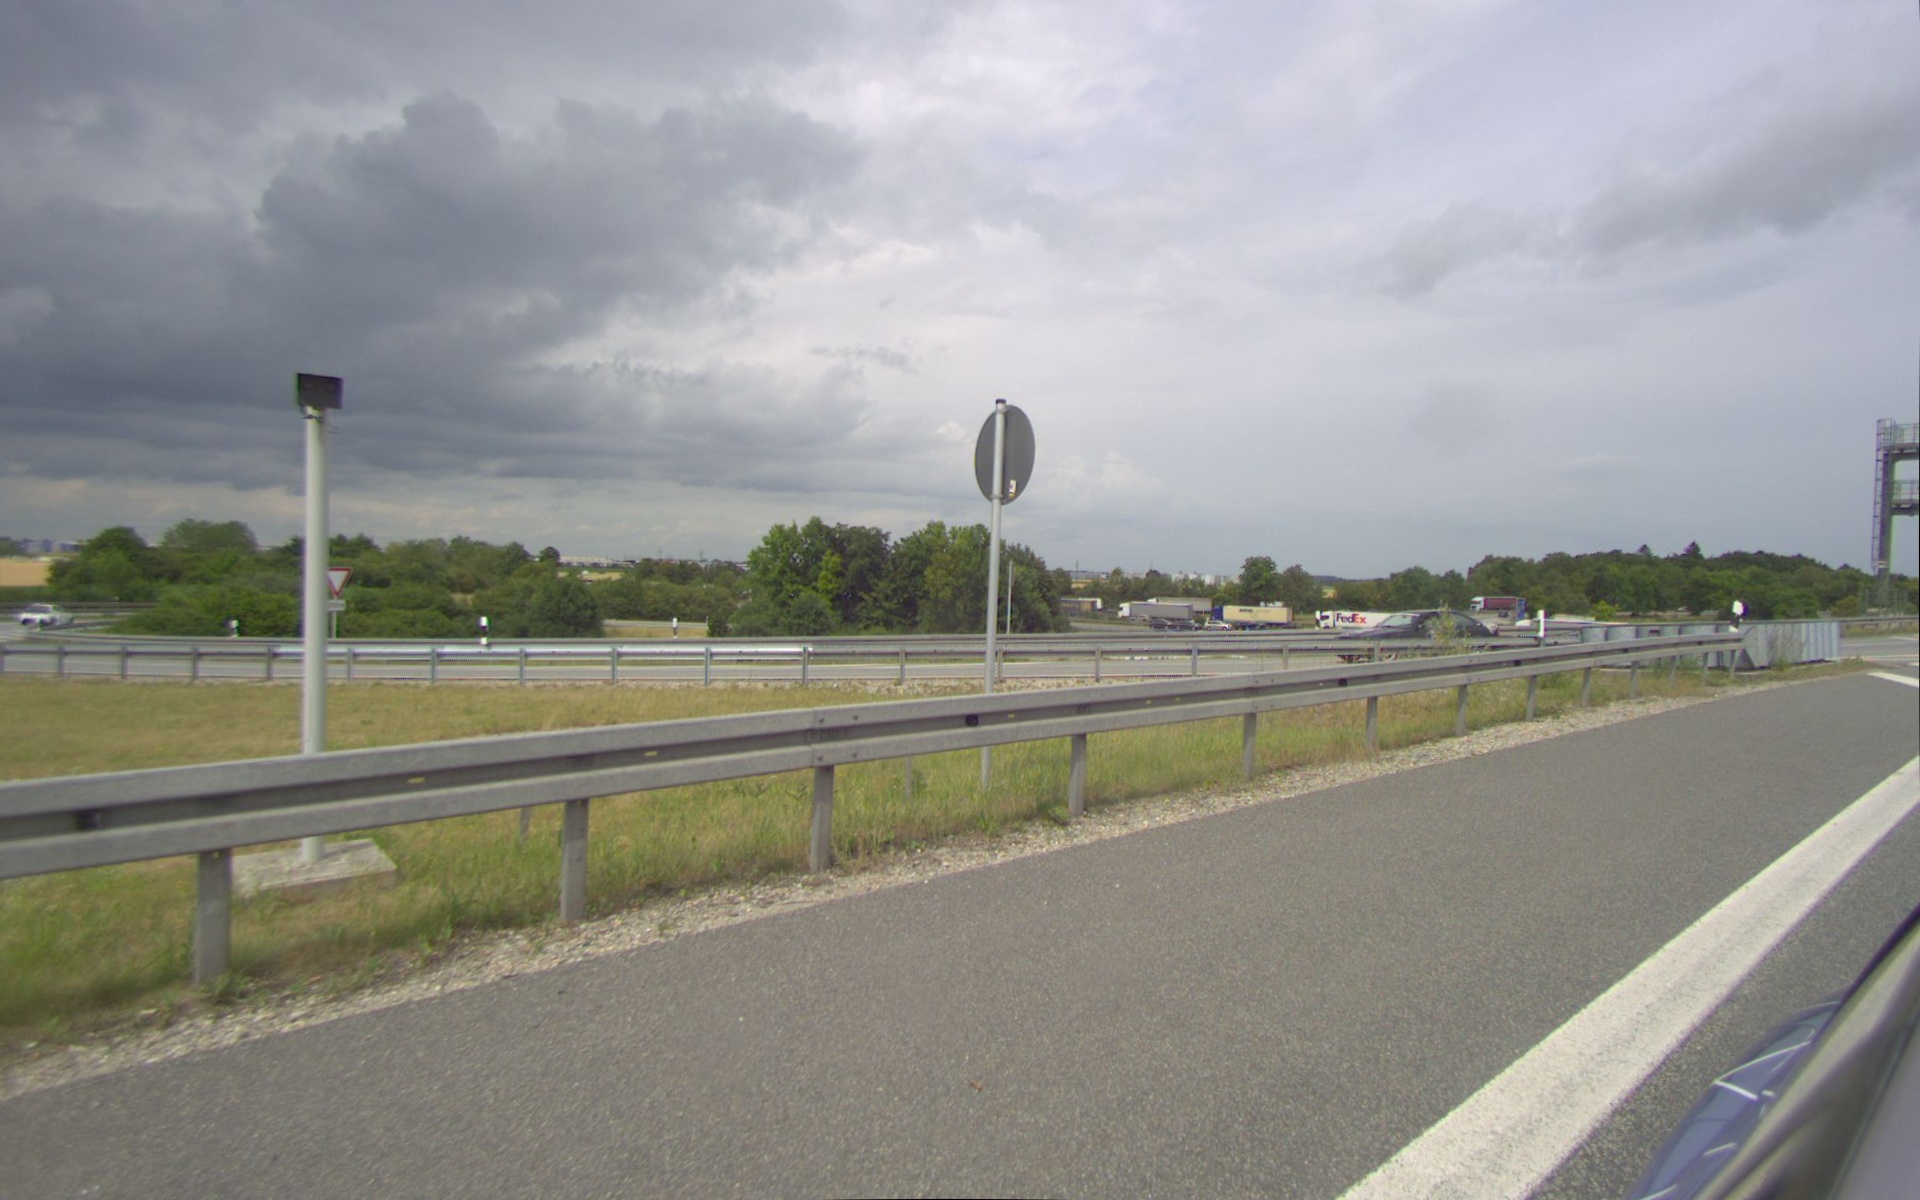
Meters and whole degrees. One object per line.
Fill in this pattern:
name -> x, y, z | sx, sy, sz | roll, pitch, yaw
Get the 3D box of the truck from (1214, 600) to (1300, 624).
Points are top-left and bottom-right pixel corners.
truck -> 59.386, 2.342, 202.701 | 16.285, 4.612, 3.951 | 1, 0, 39

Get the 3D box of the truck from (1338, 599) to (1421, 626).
truck -> 77.502, 2.289, 187.370 | 13.720, 4.612, 3.952 | 1, 0, 39

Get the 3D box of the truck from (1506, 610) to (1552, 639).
truck -> 97.015, 4.111, 172.525 | 6.261, 4.733, 3.878 | 1, 0, 39

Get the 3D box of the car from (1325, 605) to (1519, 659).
car -> 12.058, 0.807, 26.588 | 4.282, 1.297, 1.710 | 1, 0, -1

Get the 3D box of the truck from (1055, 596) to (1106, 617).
truck -> 30.623, 1.675, 257.155 | 12.793, 5.105, 3.939 | 1, 0, 11

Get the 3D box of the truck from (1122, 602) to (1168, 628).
truck -> 29.795, 2.401, 163.376 | 6.380, 4.041, 3.813 | 1, 1, 36

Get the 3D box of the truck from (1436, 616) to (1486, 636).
truck -> 86.409, 4.380, 174.551 | 7.530, 3.237, 2.200 | 1, 0, 39

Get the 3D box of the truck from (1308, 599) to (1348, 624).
truck -> 70.303, 2.131, 193.187 | 6.262, 4.568, 3.877 | 1, 0, 39

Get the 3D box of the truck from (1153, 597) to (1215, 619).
truck -> 55.719, 2.021, 251.969 | 14.585, 5.281, 3.858 | 1, -1, 3

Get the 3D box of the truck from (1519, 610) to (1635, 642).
truck -> 102.339, 4.242, 168.106 | 16.095, 4.759, 3.937 | 1, 1, 40

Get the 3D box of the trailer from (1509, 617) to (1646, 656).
trailer -> 76.252, 4.418, 125.304 | 14.177, 4.151, 2.948 | 1, 0, 39

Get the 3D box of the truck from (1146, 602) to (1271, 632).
truck -> 38.291, 2.578, 157.016 | 18.933, 4.111, 3.942 | 1, 1, 37

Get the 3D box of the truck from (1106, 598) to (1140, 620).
truck -> 35.656, 1.943, 221.313 | 6.263, 4.568, 3.876 | 1, 0, 40

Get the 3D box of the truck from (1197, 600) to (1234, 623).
truck -> 52.602, 2.320, 208.304 | 6.262, 4.568, 3.877 | 1, 0, 39

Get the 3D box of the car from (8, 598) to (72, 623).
car -> -64.635, 0.720, 71.199 | 1.958, 1.731, 4.008 | 1, 0, -20

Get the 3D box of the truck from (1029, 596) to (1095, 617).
truck -> 22.940, 1.406, 228.494 | 15.239, 4.612, 3.949 | 1, 0, 41

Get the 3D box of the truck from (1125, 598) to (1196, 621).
truck -> 42.505, 2.022, 215.564 | 14.815, 4.612, 3.950 | 1, 0, 40
